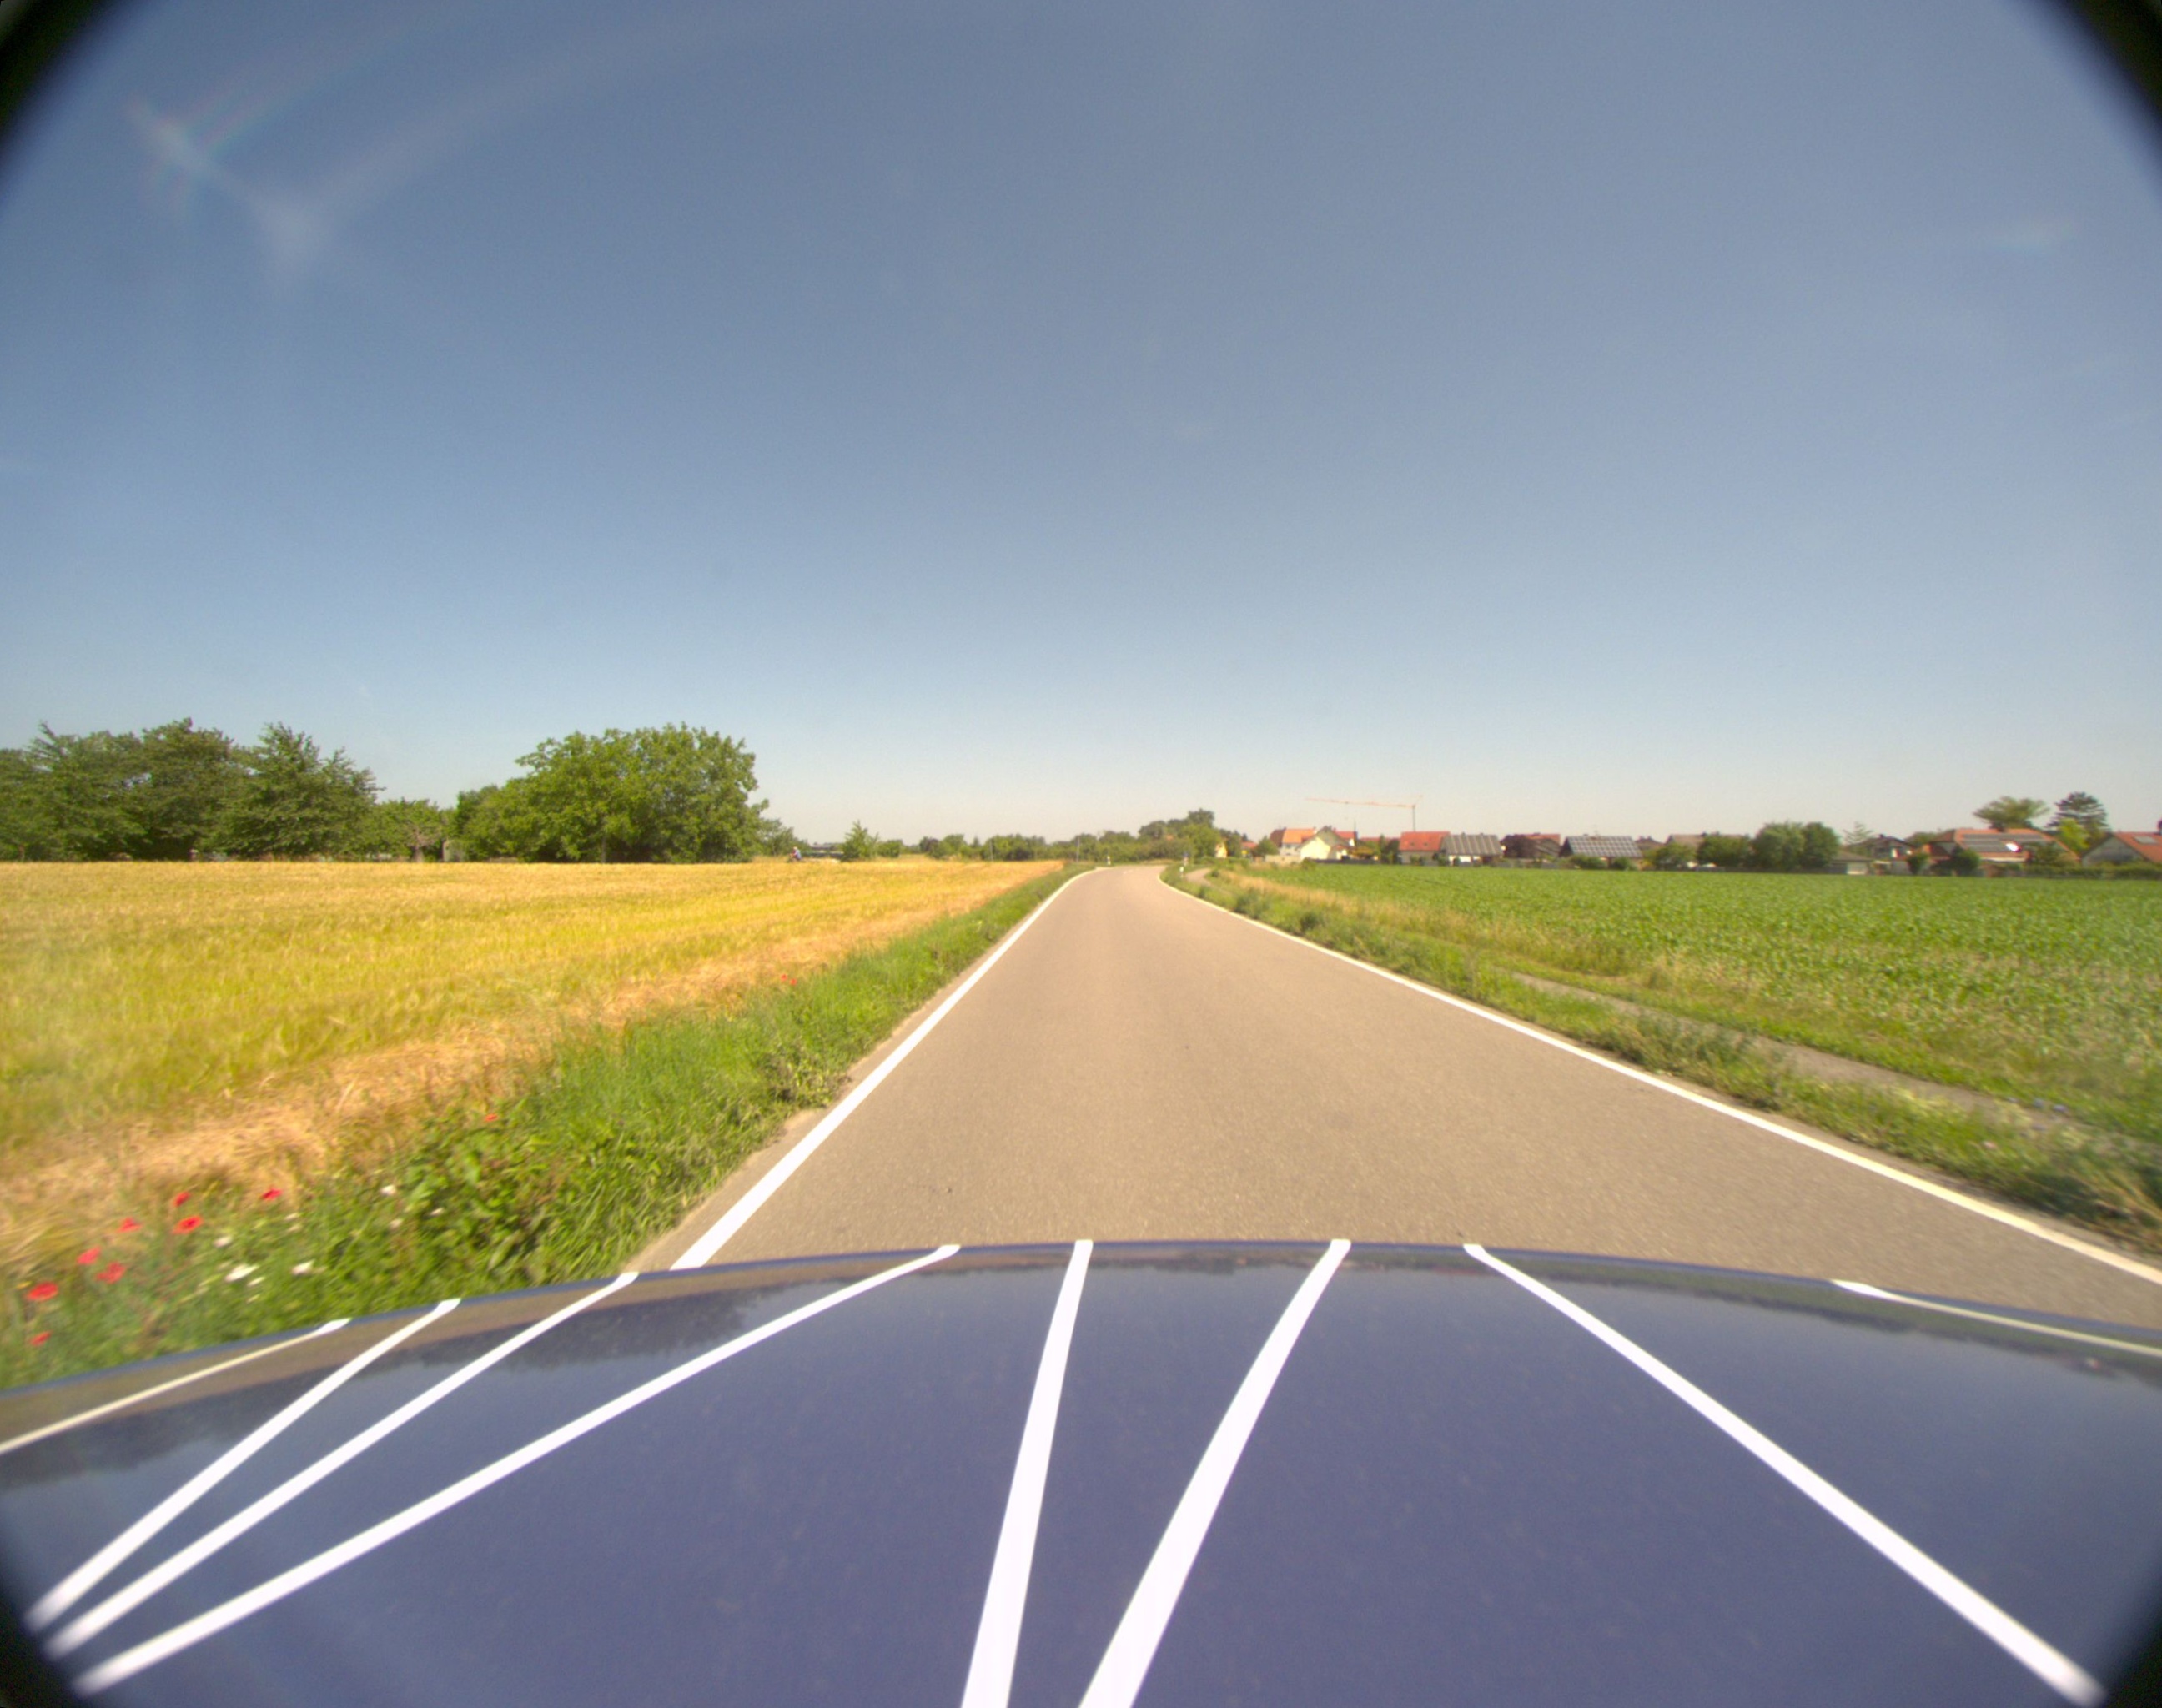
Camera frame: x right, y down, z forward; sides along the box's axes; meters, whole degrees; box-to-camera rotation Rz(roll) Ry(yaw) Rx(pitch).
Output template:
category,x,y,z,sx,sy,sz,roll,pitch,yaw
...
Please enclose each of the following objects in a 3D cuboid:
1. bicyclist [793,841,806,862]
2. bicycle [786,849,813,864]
category,x,y,z,sx,sy,sz,roll,pitch,yaw
bicyclist,-20.972,-0.159,56.599,0.737,1.564,0.672,0,1,-40
bicycle,-20.978,0.209,56.605,1.773,1.109,0.520,0,1,-40
